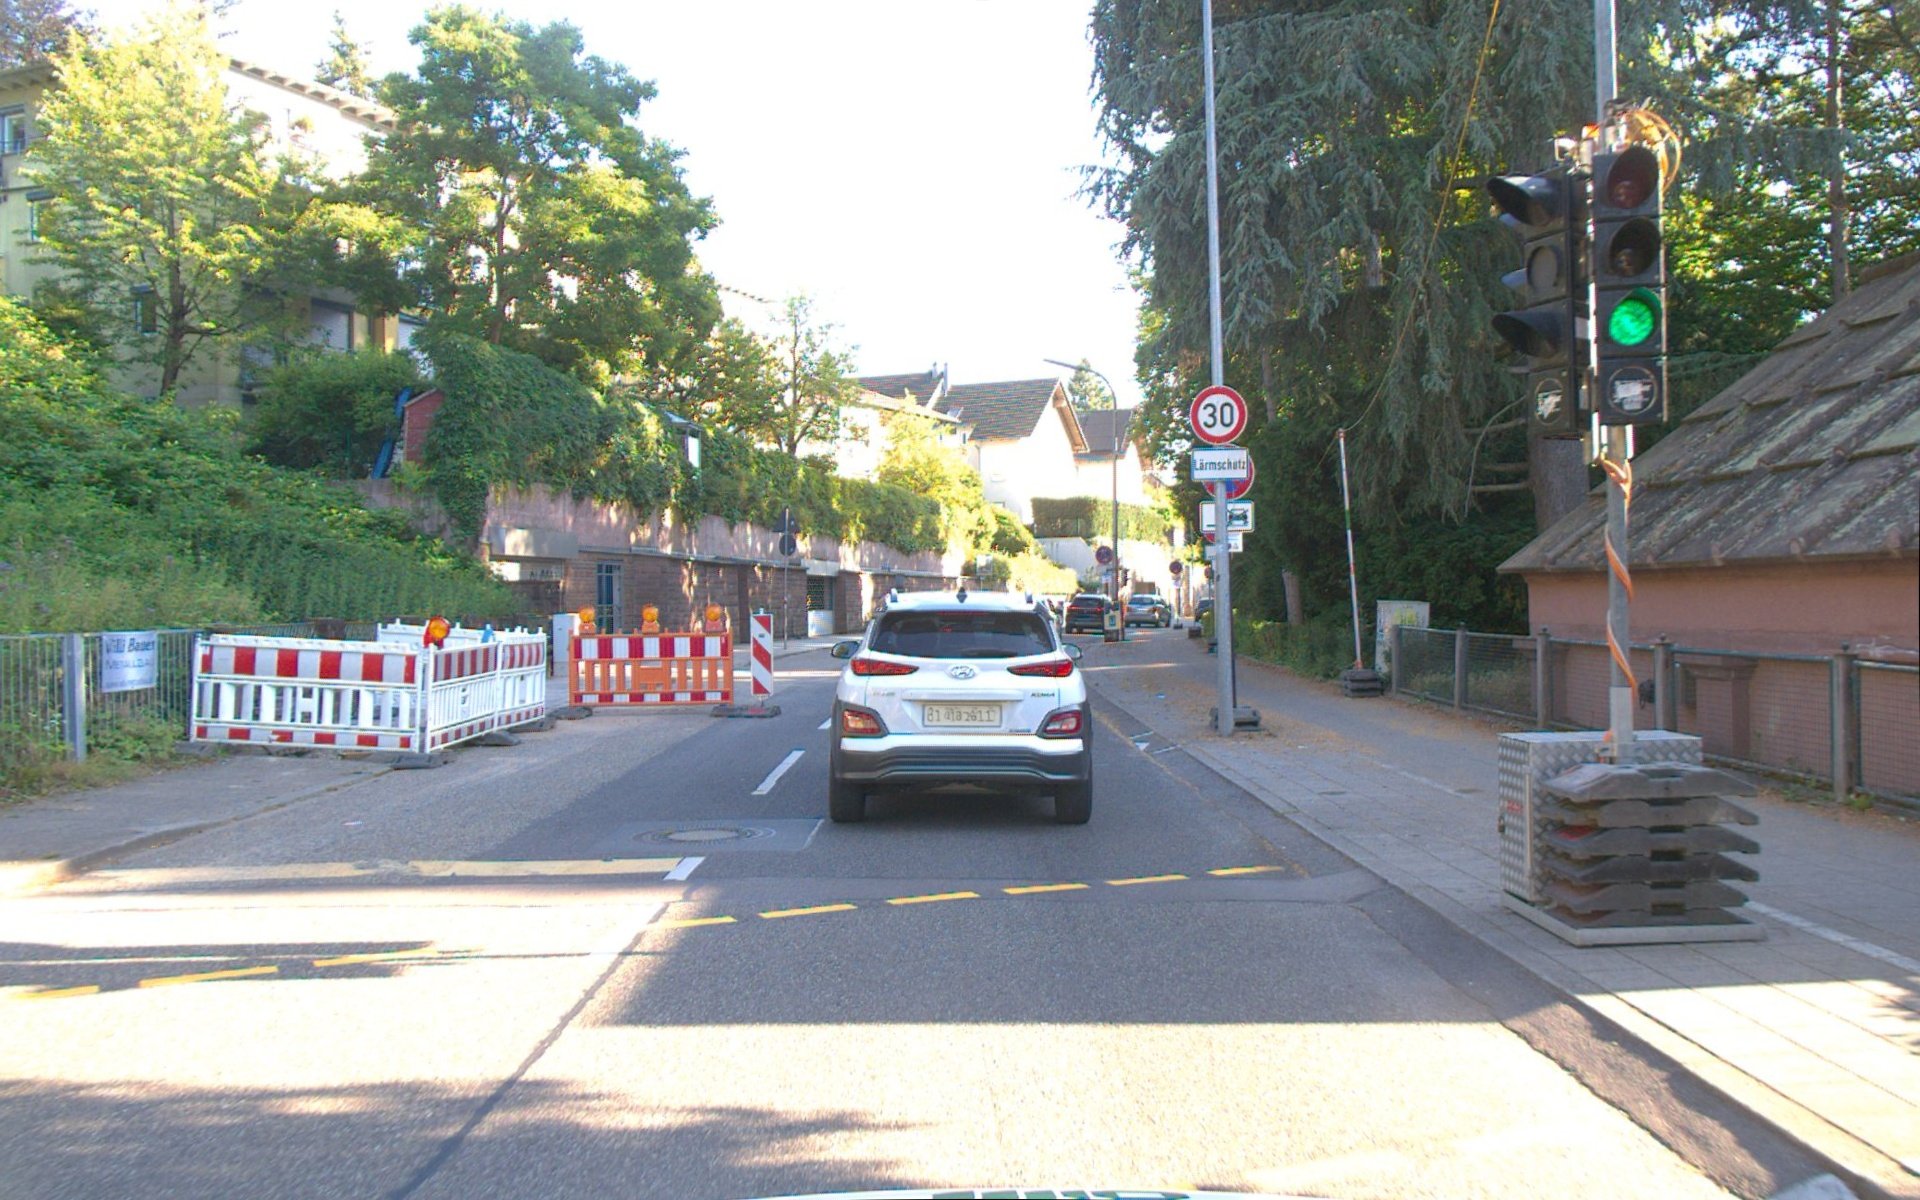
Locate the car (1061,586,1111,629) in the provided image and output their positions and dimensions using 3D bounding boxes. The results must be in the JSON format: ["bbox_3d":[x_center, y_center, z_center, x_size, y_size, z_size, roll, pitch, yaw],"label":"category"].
[{"bbox_3d":[5.282,0.303,68.964,1.792,1.691,4.003,1,0,8],"label":"car"}]

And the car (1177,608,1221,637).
[{"bbox_3d":[14.360,1.324,99.106,1.794,1.691,4.000,1,0,20],"label":"car"}]

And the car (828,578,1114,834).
[{"bbox_3d":[-0.083,0.672,12.530,1.785,1.601,3.996,1,0,-5],"label":"car"}]

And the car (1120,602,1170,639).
[{"bbox_3d":[9.269,0.996,82.668,1.793,1.771,4.002,-2,-1,17],"label":"car"}]

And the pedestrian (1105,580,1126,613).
[{"bbox_3d":[9.278,-0.224,98.756,1.057,1.945,0.841,1,0,16],"label":"pedestrian"}]

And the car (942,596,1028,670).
[{"bbox_3d":[0.483,0.655,35.399,1.673,1.459,4.364,1,0,-1],"label":"car"}]

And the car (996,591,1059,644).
[{"bbox_3d":[2.051,0.518,51.322,1.768,1.564,4.000,1,0,0],"label":"car"}]
